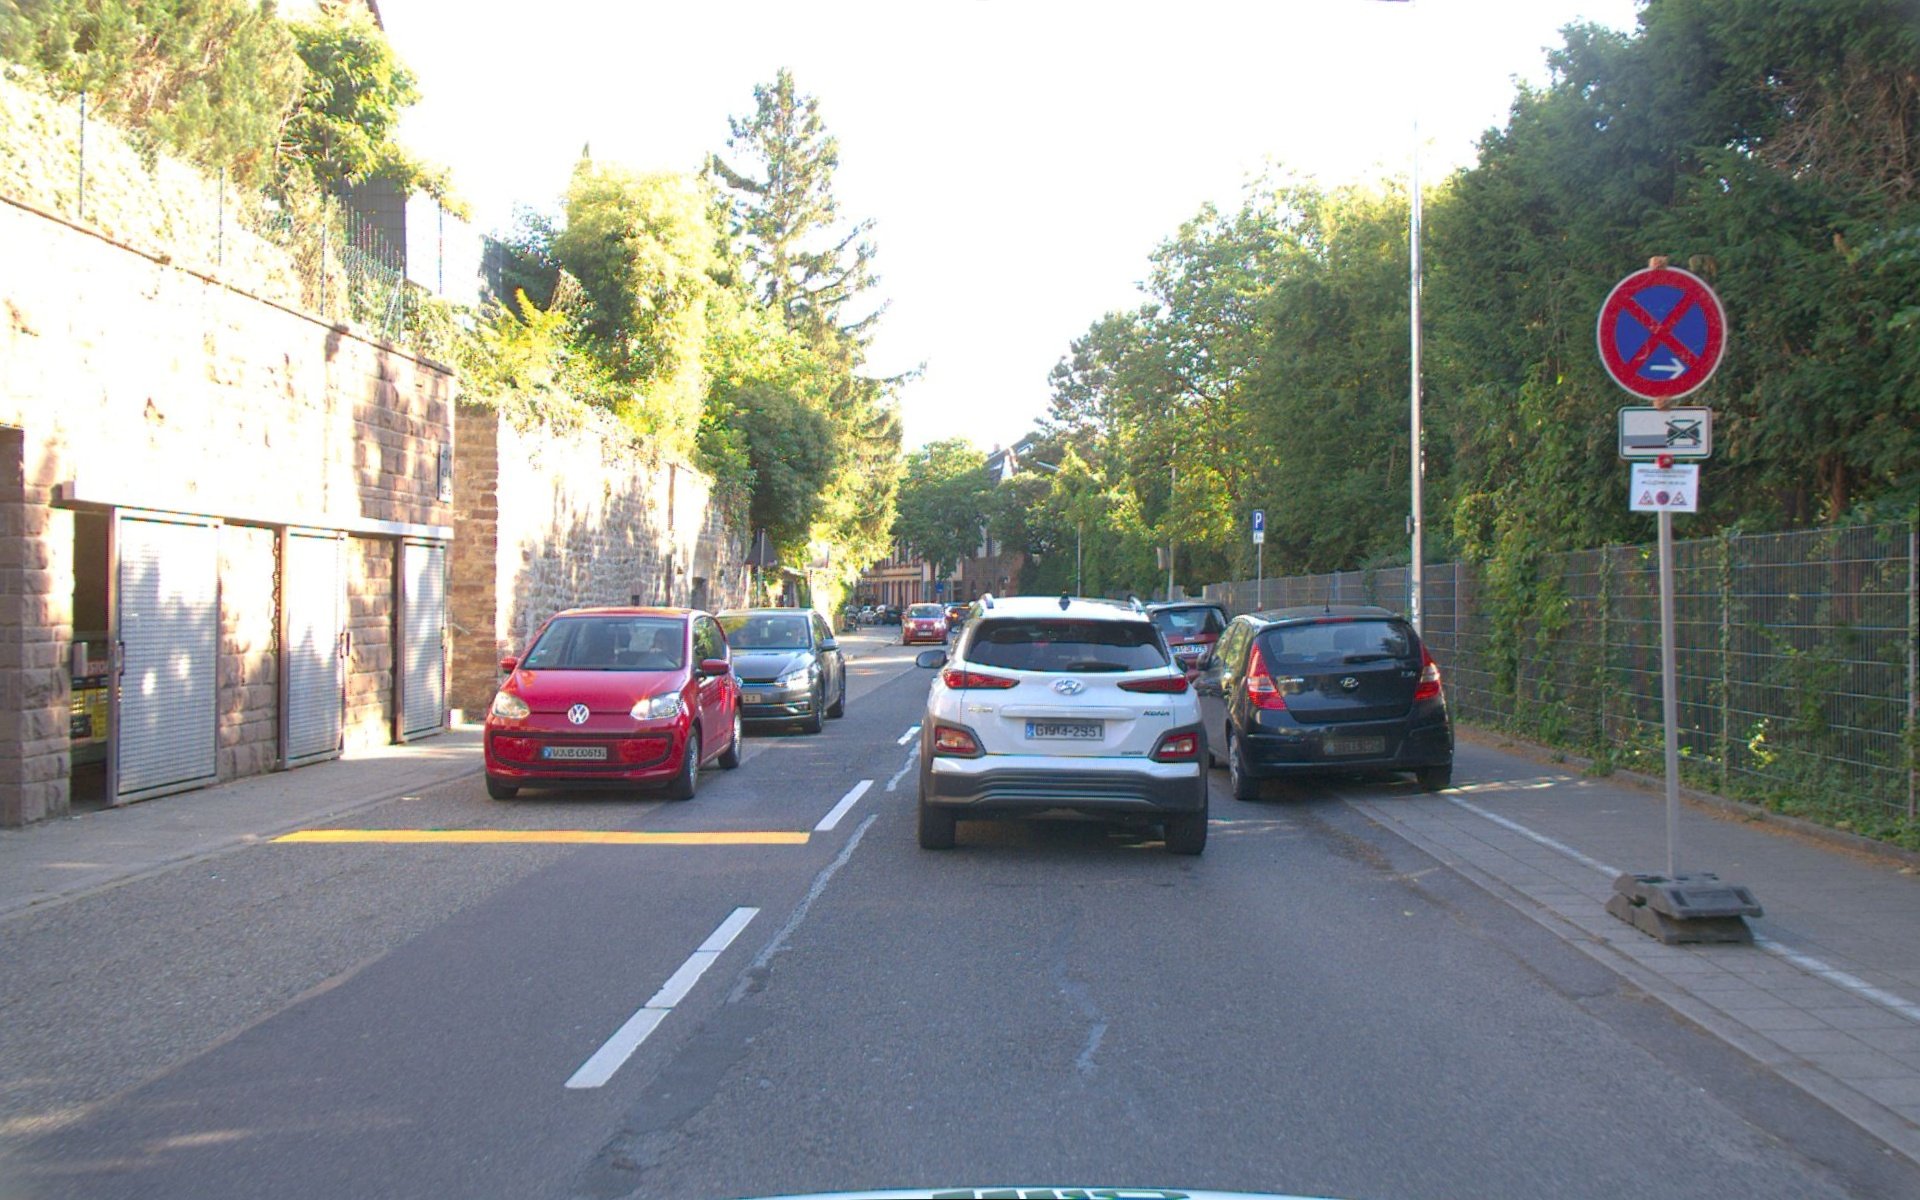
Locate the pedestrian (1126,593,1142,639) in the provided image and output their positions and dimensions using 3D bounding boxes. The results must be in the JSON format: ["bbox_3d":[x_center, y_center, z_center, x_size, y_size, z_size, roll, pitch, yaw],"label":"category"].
[{"bbox_3d":[6.202,0.569,58.973,0.492,1.596,0.504,-2,-1,2],"label":"pedestrian"}]

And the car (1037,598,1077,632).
[{"bbox_3d":[4.640,0.702,79.671,1.561,1.515,3.600,-2,0,-2],"label":"car"}]

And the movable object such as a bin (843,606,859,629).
[{"bbox_3d":[-6.040,0.977,91.445,0.775,1.210,0.773,2,-1,1],"label":"movable object such as a bin"}]

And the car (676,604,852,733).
[{"bbox_3d":[-2.326,0.771,20.504,1.615,1.436,3.931,0,0,1],"label":"car"}]

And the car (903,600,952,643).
[{"bbox_3d":[-1.165,0.771,60.601,1.518,1.492,3.569,-1,0,2],"label":"car"}]

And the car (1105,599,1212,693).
[{"bbox_3d":[3.563,0.782,30.316,1.674,1.524,4.816,2,0,4],"label":"car"}]

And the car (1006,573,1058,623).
[{"bbox_3d":[2.523,-0.106,57.435,1.658,1.559,3.883,-3,1,3],"label":"car"}]

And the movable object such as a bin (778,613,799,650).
[{"bbox_3d":[-4.678,0.851,45.082,0.480,0.981,0.583,2,0,0],"label":"movable object such as a bin"}]

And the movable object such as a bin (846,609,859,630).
[{"bbox_3d":[-5.286,0.961,81.372,0.485,1.029,1.113,2,-1,2],"label":"movable object such as a bin"}]

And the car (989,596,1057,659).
[{"bbox_3d":[1.629,0.673,42.077,1.537,1.503,3.550,1,0,5],"label":"car"}]

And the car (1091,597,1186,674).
[{"bbox_3d":[3.699,0.712,34.625,1.592,1.536,2.902,1,0,-2],"label":"car"}]

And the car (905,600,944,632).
[{"bbox_3d":[-1.853,0.832,85.737,1.707,1.500,3.996,-3,-1,-5],"label":"car"}]

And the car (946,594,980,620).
[{"bbox_3d":[0.142,0.385,92.363,1.559,1.410,3.356,0,0,-6],"label":"car"}]

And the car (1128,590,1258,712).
[{"bbox_3d":[3.396,0.723,24.550,1.618,1.591,2.874,-4,-1,4],"label":"car"}]

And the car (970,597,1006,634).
[{"bbox_3d":[1.270,0.683,73.742,1.557,1.610,3.361,0,0,1],"label":"car"}]

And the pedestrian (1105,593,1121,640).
[{"bbox_3d":[5.409,0.575,58.665,0.492,1.634,0.491,-2,-1,2],"label":"pedestrian"}]

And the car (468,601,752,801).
[{"bbox_3d":[-2.777,0.740,13.834,1.593,1.447,3.563,0,0,0],"label":"car"}]

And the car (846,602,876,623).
[{"bbox_3d":[-8.382,1.029,139.694,1.726,1.645,3.985,2,0,-15],"label":"car"}]

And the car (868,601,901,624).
[{"bbox_3d":[-5.917,0.998,129.754,1.726,1.645,3.985,2,0,-15],"label":"car"}]

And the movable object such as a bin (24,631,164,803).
[{"bbox_3d":[-6.237,0.827,11.942,0.644,1.196,0.666,0,0,3],"label":"movable object such as a bin"}]

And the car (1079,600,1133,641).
[{"bbox_3d":[5.542,0.760,63.314,1.652,1.456,3.999,-2,0,0],"label":"car"}]

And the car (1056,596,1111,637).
[{"bbox_3d":[5.095,0.685,68.690,1.563,1.592,3.995,-2,0,-6],"label":"car"}]

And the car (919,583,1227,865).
[{"bbox_3d":[0.820,0.713,11.465,1.735,1.569,4.002,1,0,5],"label":"car"}]

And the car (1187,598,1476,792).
[{"bbox_3d":[3.081,0.716,14.499,1.757,1.466,4.001,0,0,2],"label":"car"}]

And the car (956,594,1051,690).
[{"bbox_3d":[0.807,0.685,28.838,1.480,1.560,3.550,0,0,4],"label":"car"}]

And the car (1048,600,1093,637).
[{"bbox_3d":[4.929,0.809,73.897,1.561,1.546,3.930,-2,0,-2],"label":"car"}]

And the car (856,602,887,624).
[{"bbox_3d":[-7.208,1.009,134.524,1.726,1.645,3.985,2,0,-15],"label":"car"}]
